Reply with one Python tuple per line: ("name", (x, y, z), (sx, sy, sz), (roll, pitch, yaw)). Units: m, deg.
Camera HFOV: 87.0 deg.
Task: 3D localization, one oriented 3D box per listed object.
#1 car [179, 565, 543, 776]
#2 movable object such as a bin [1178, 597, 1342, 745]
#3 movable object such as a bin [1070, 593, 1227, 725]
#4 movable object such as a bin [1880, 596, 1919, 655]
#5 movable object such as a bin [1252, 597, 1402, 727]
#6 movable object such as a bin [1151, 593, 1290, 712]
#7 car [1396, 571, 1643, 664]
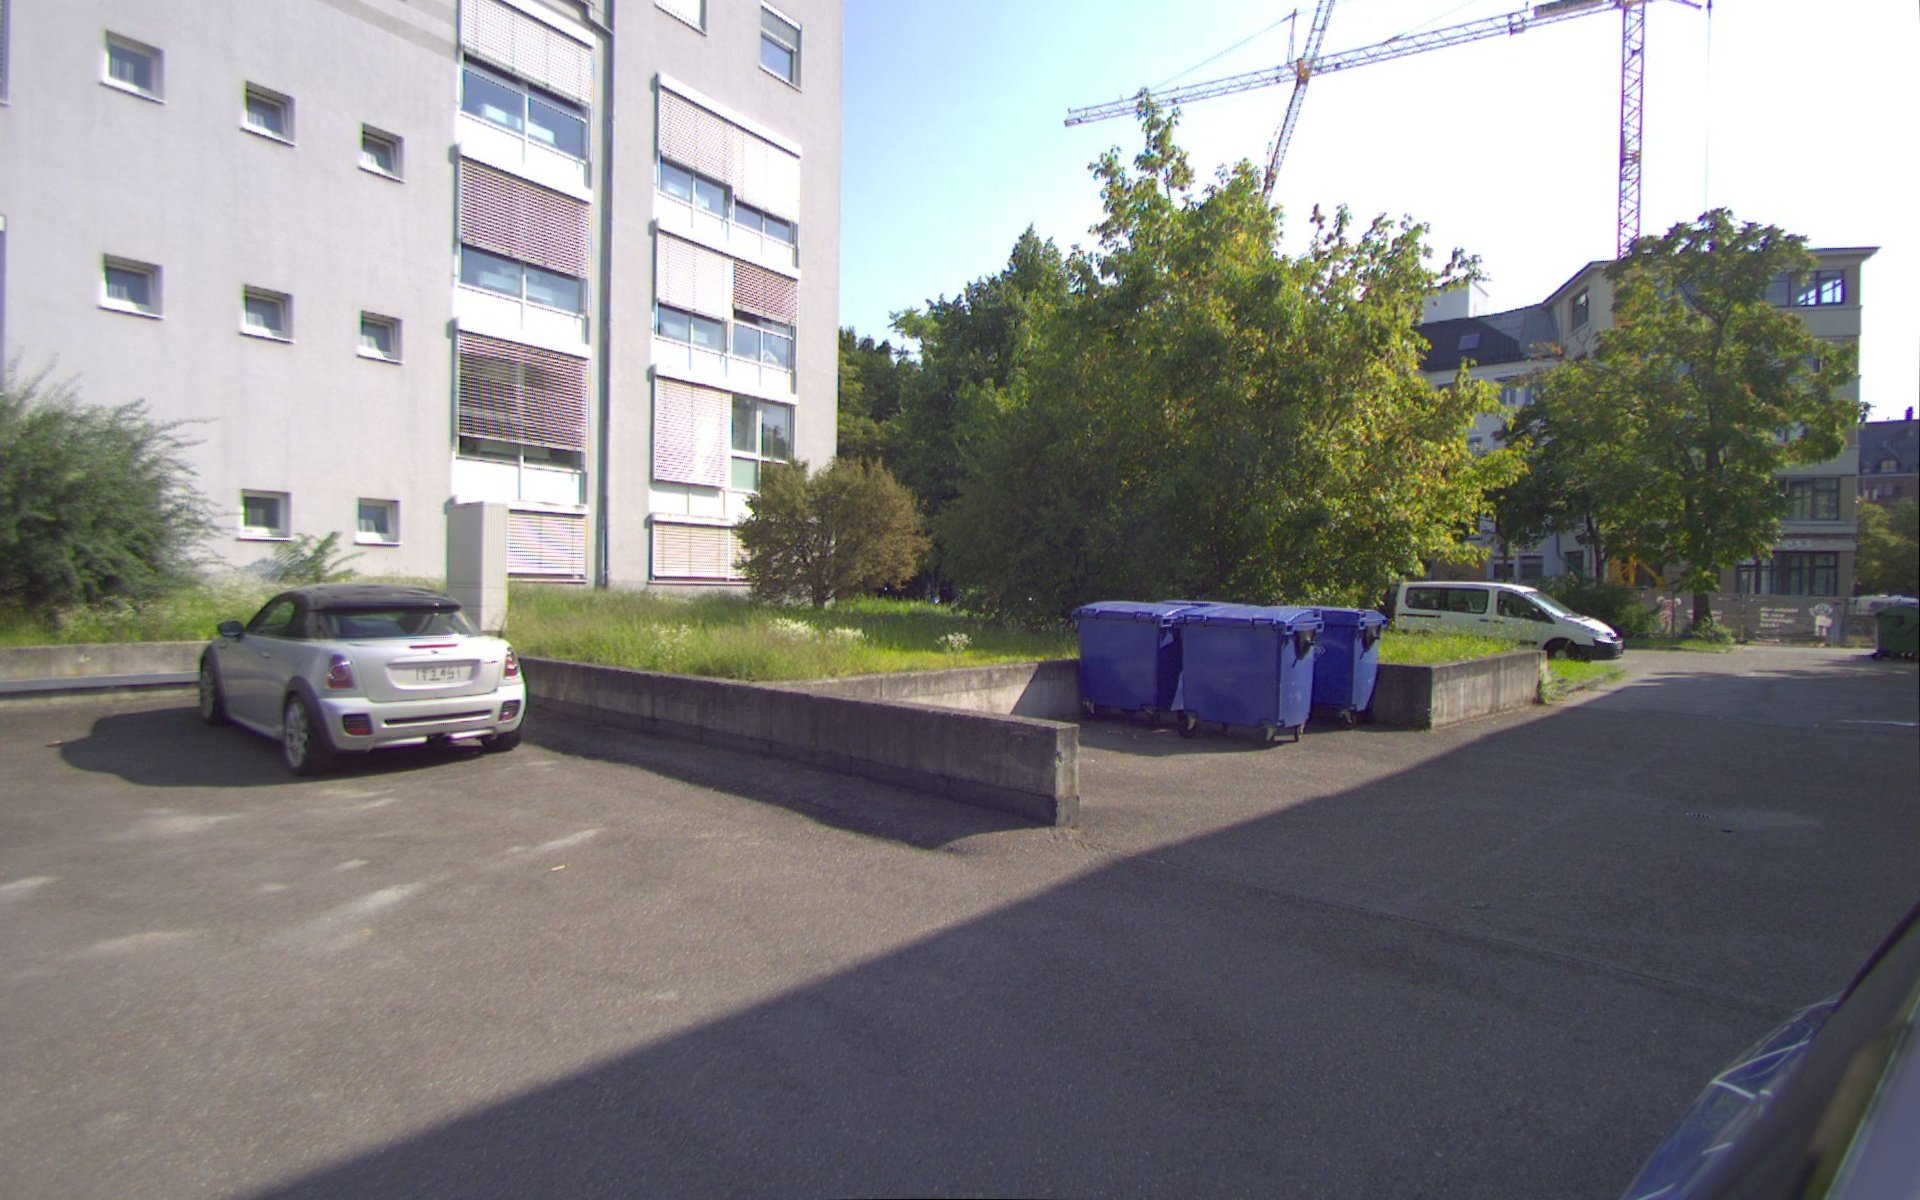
("car", (-5.348, 0.462, 8.879), (3.565, 1.455, 1.635), (2, 1, 40))
("movable object such as a bin", (3.083, 0.670, 10.381), (1.209, 1.368, 1.256), (1, 0, 41))
("movable object such as a bin", (2.111, 0.609, 11.345), (1.253, 1.344, 1.255), (1, 0, 43))
("movable object such as a bin", (24.635, 0.649, 25.948), (1.520, 1.484, 1.255), (1, 0, 43))
("movable object such as a bin", (4.169, 0.651, 11.483), (1.196, 1.344, 1.255), (1, 0, 43))
("movable object such as a bin", (3.214, 0.598, 12.467), (1.196, 1.344, 1.255), (1, 0, 43))
("car", (13.107, 0.336, 23.941), (4.780, 1.956, 1.878), (2, 1, 45))
